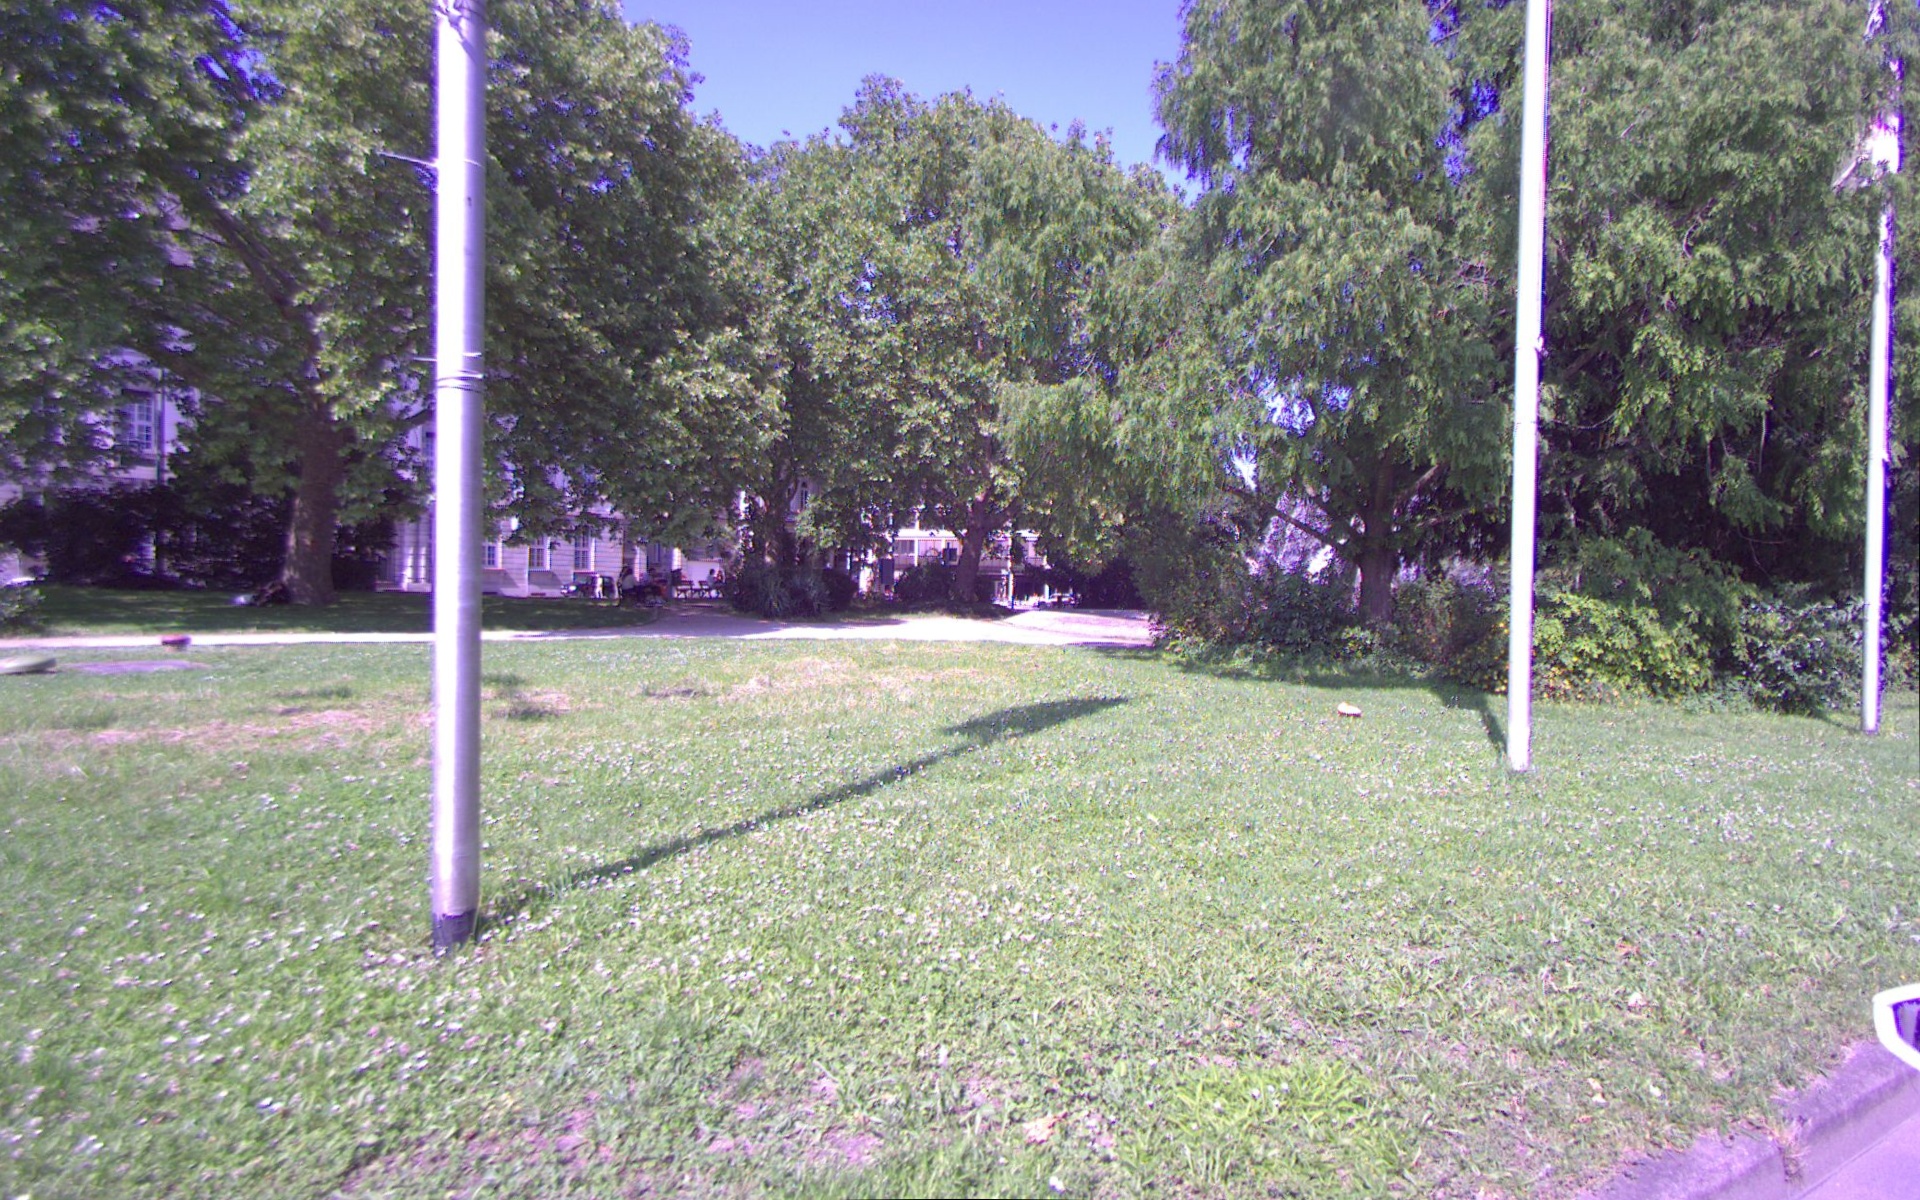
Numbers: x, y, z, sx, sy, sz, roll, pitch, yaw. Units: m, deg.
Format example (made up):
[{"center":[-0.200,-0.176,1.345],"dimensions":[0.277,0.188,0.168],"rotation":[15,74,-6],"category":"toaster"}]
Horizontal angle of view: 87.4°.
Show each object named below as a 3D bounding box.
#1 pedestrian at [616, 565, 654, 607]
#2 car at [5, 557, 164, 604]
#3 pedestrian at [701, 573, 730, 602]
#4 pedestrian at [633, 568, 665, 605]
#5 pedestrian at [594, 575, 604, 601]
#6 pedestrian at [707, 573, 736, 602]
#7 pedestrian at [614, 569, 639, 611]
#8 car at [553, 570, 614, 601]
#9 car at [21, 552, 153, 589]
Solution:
[{"center":[-9.955,-0.439,30.835],"dimensions":[1.041,1.242,0.754],"rotation":[2,1,-16],"category":"pedestrian"},{"center":[-27.998,-0.597,32.214],"dimensions":[1.584,1.397,3.575],"rotation":[3,2,33],"category":"car"},{"center":[-10.581,-0.546,43.517],"dimensions":[1.037,1.242,0.756],"rotation":[2,1,2],"category":"pedestrian"},{"center":[-10.960,-0.470,35.407],"dimensions":[1.041,1.242,0.754],"rotation":[2,1,-16],"category":"pedestrian"},{"center":[-22.781,-0.775,63.391],"dimensions":[0.486,1.646,0.376],"rotation":[2,0,-29],"category":"pedestrian"},{"center":[-10.516,-0.543,44.352],"dimensions":[1.037,1.242,0.756],"rotation":[2,1,2],"category":"pedestrian"},{"center":[-9.963,-0.307,30.027],"dimensions":[0.659,1.242,0.754],"rotation":[2,2,-16],"category":"pedestrian"},{"center":[-24.047,-0.907,64.327],"dimensions":[1.841,1.824,4.002],"rotation":[2,0,9],"category":"car"},{"center":[-31.943,-1.063,36.824],"dimensions":[1.492,1.255,3.399],"rotation":[3,2,33],"category":"car"}]
